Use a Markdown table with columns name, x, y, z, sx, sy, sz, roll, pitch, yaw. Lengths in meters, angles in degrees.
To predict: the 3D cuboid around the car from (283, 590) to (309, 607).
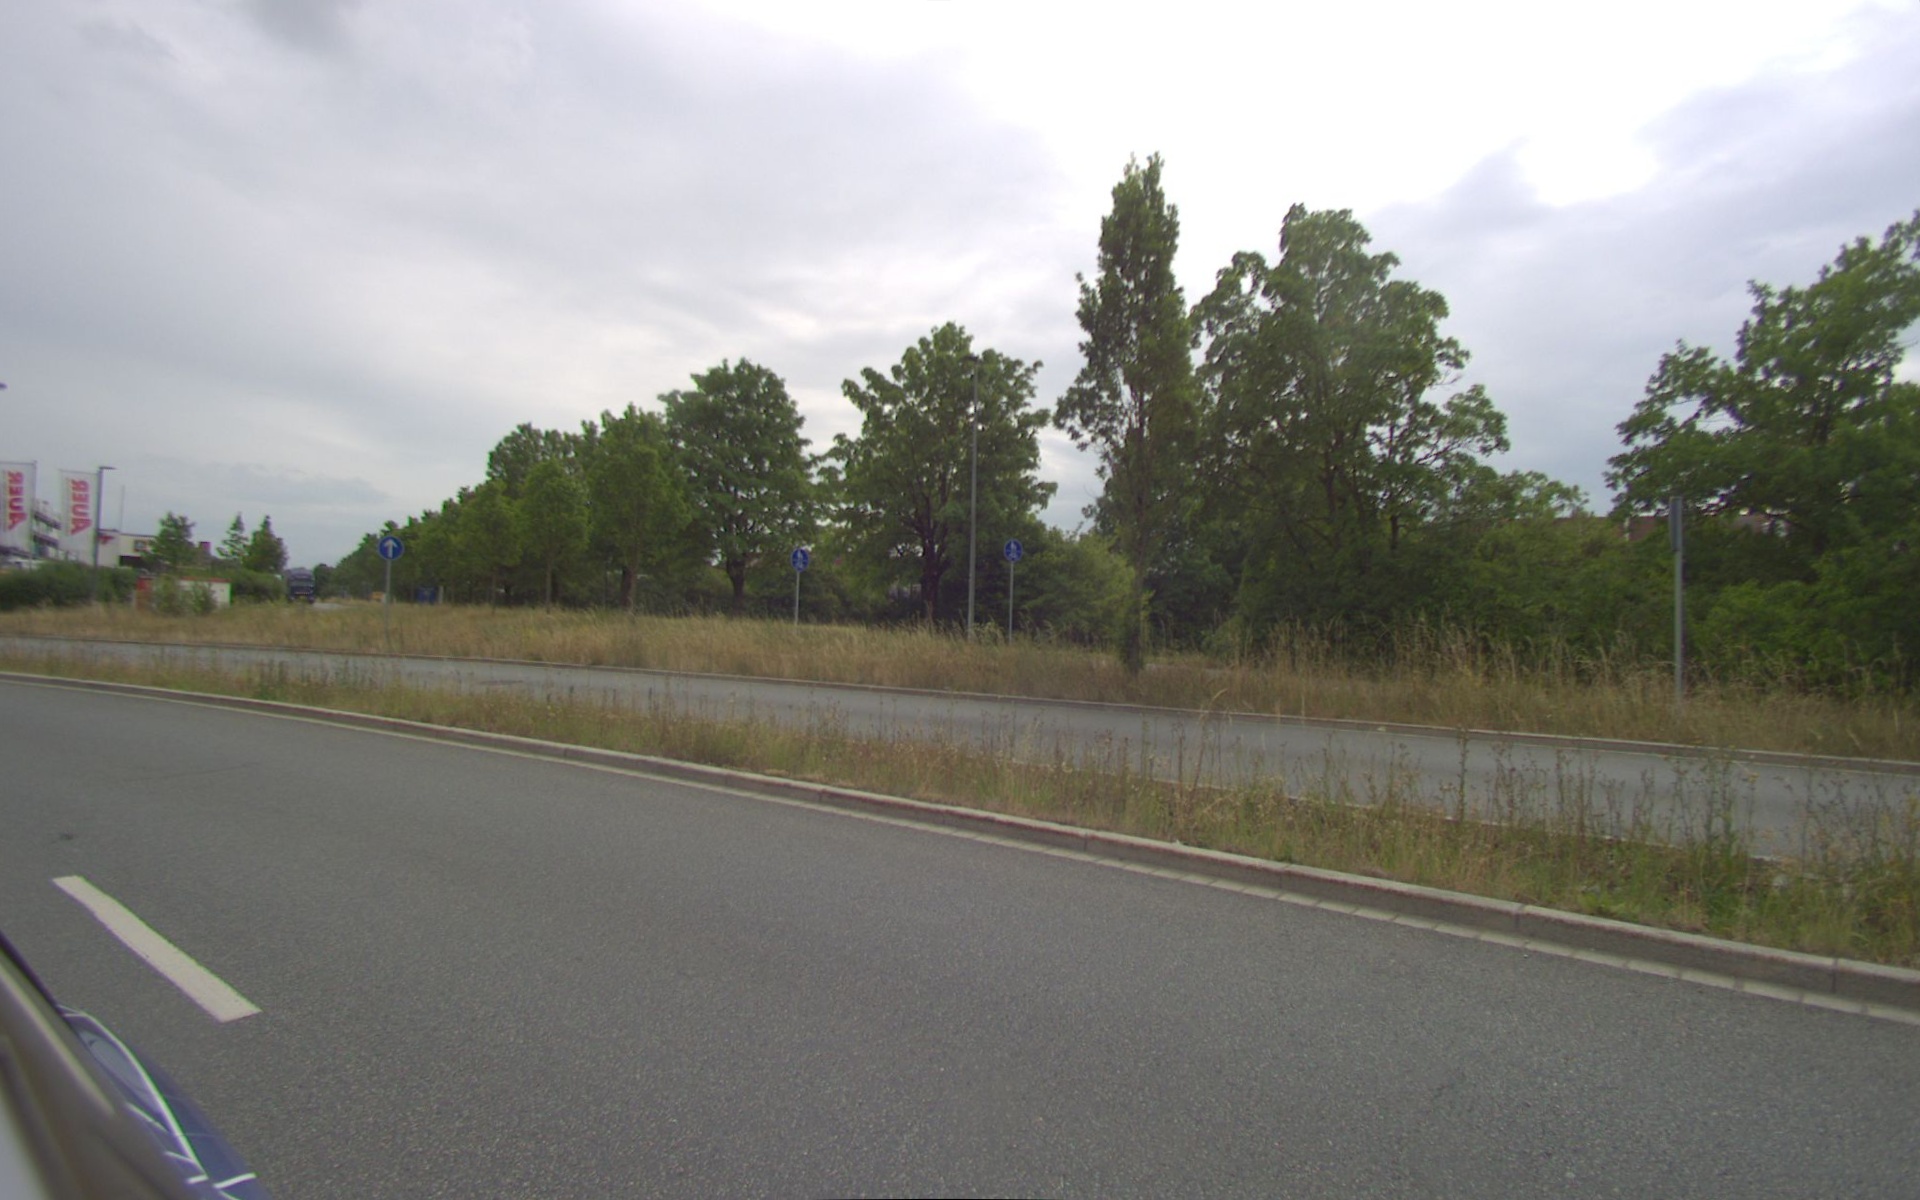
| name | x | y | z | sx | sy | sz | roll | pitch | yaw |
| --- | --- | --- | --- | --- | --- | --- | --- | --- | --- |
| car | -76.009 | -0.173 | 115.847 | 1.968 | 1.763 | 4.007 | 4 | -4 | -39 |
